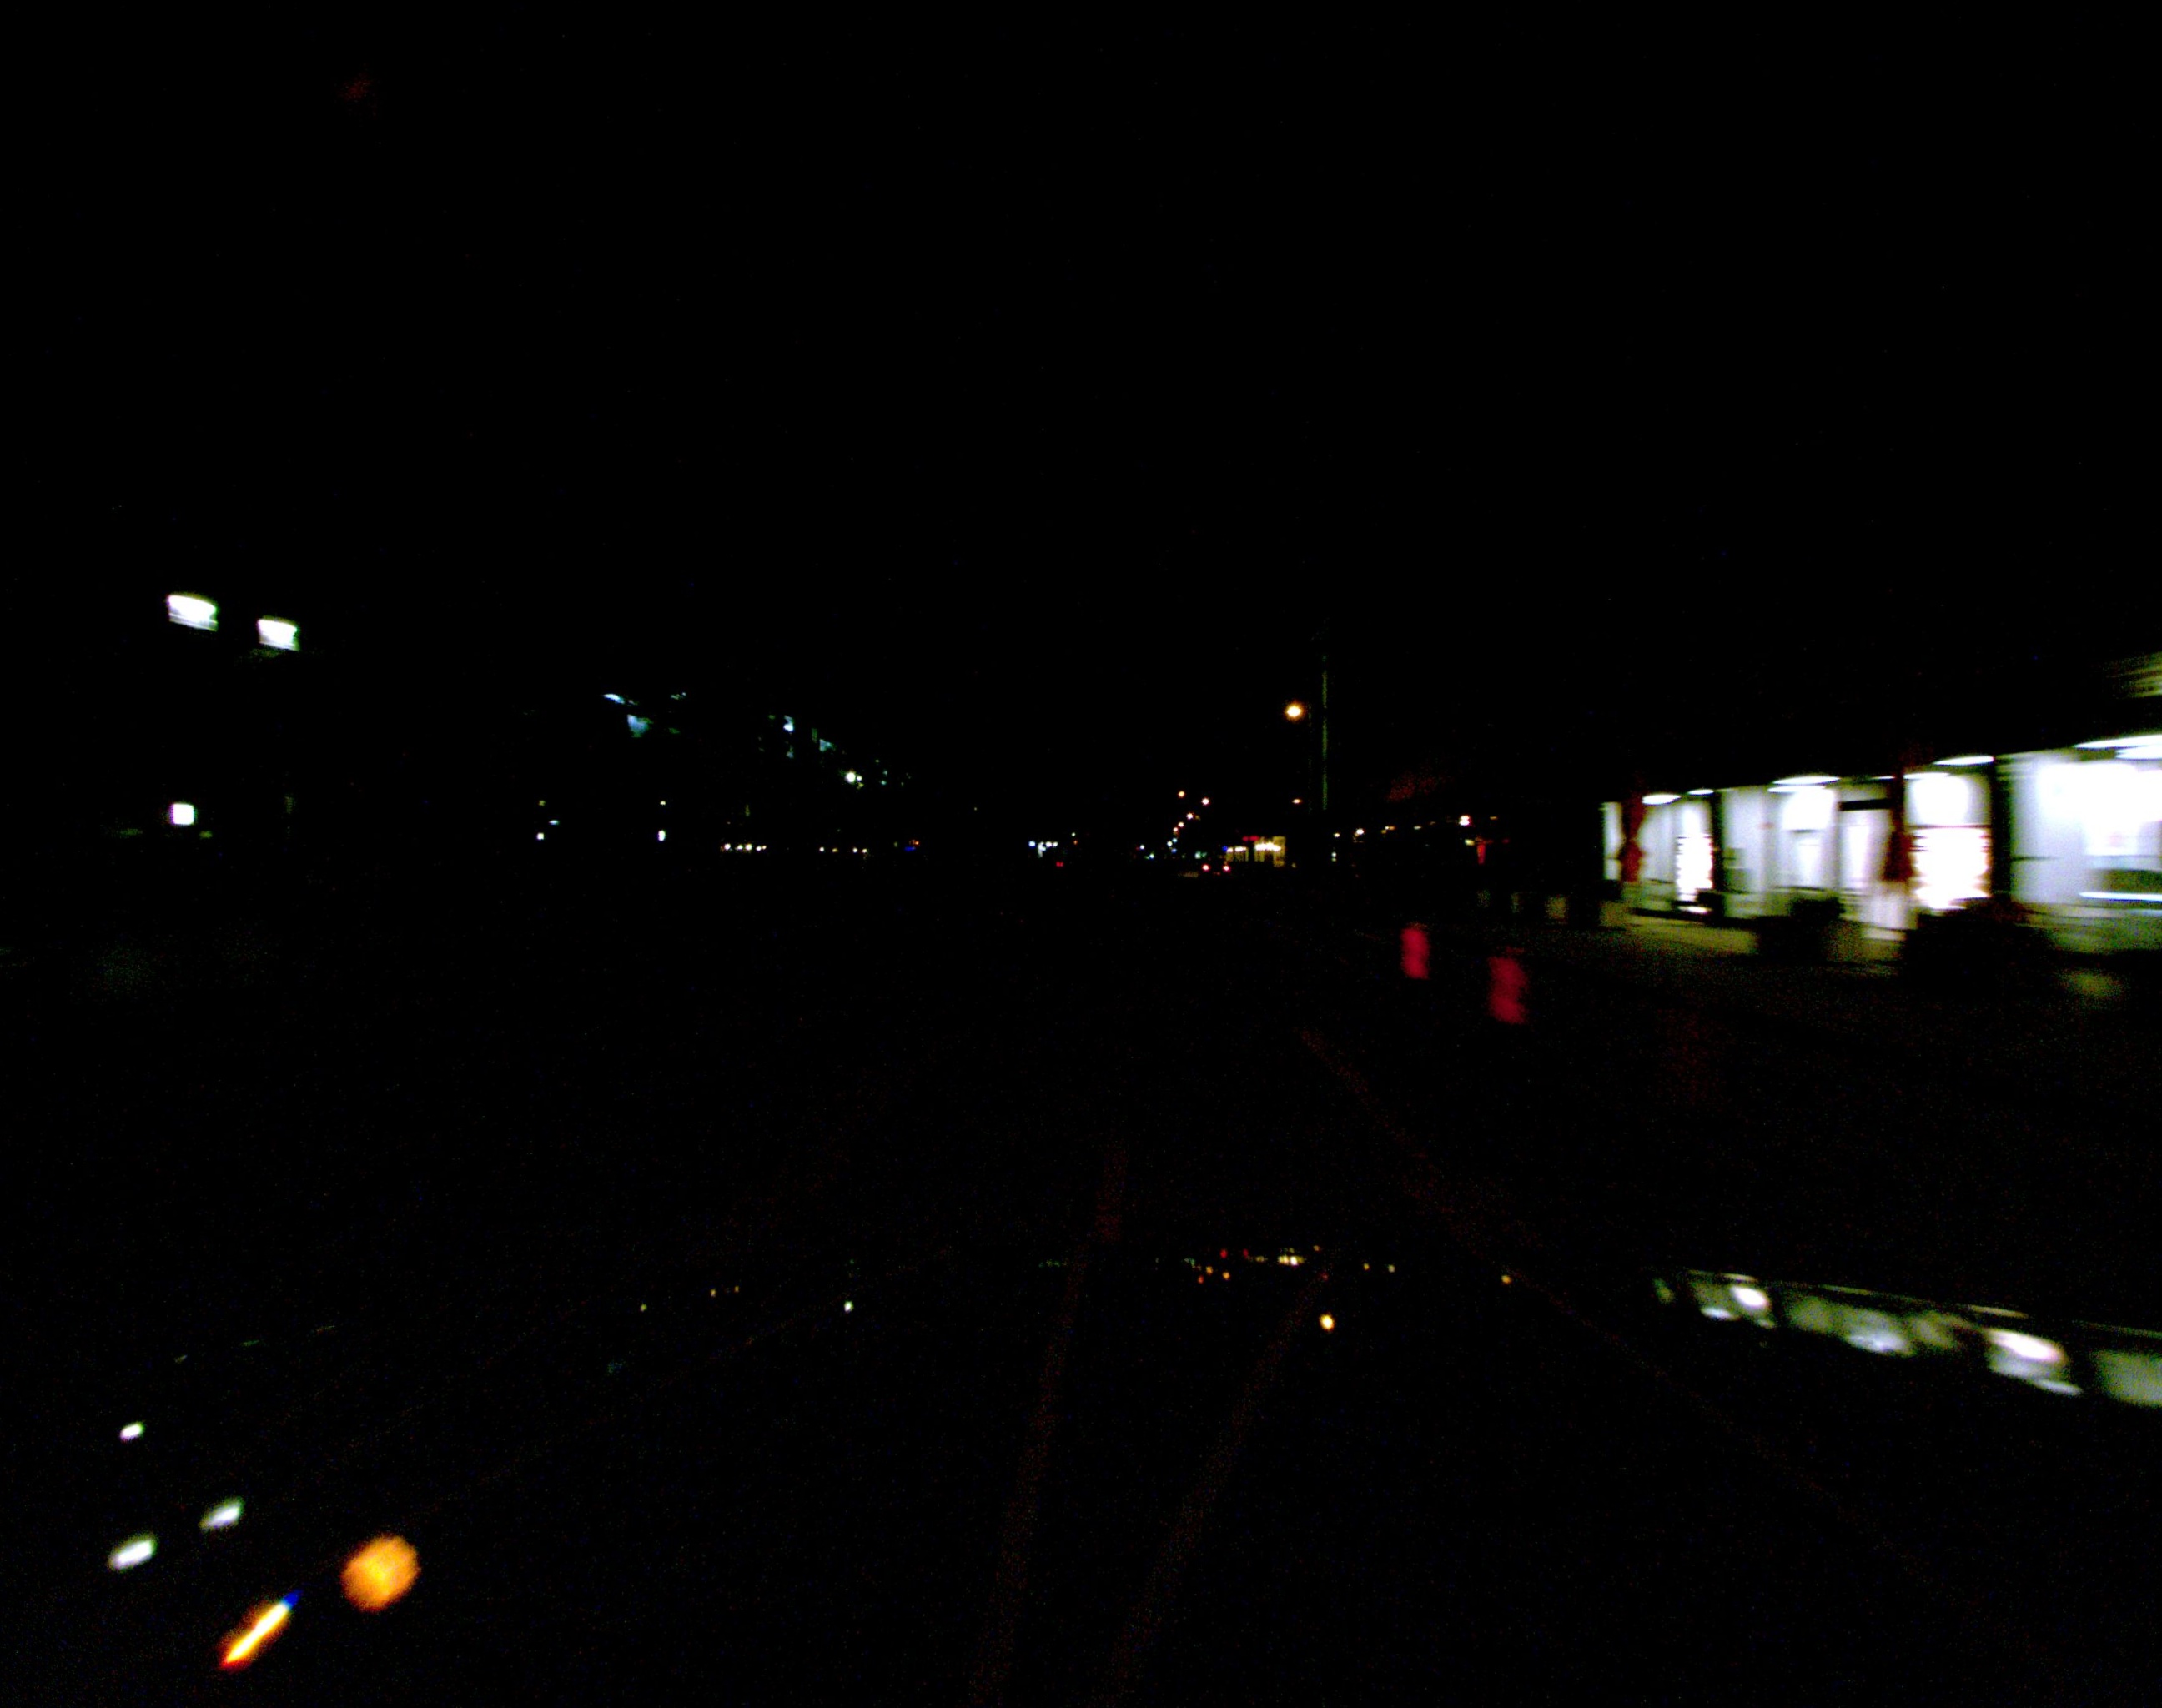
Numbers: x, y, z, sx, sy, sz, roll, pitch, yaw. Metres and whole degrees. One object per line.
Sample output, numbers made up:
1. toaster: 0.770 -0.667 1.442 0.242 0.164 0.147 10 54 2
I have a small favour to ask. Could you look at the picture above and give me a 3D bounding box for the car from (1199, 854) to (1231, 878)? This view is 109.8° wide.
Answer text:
1. car: 8.878 0.773 50.623 1.670 1.420 4.001 2 1 4
